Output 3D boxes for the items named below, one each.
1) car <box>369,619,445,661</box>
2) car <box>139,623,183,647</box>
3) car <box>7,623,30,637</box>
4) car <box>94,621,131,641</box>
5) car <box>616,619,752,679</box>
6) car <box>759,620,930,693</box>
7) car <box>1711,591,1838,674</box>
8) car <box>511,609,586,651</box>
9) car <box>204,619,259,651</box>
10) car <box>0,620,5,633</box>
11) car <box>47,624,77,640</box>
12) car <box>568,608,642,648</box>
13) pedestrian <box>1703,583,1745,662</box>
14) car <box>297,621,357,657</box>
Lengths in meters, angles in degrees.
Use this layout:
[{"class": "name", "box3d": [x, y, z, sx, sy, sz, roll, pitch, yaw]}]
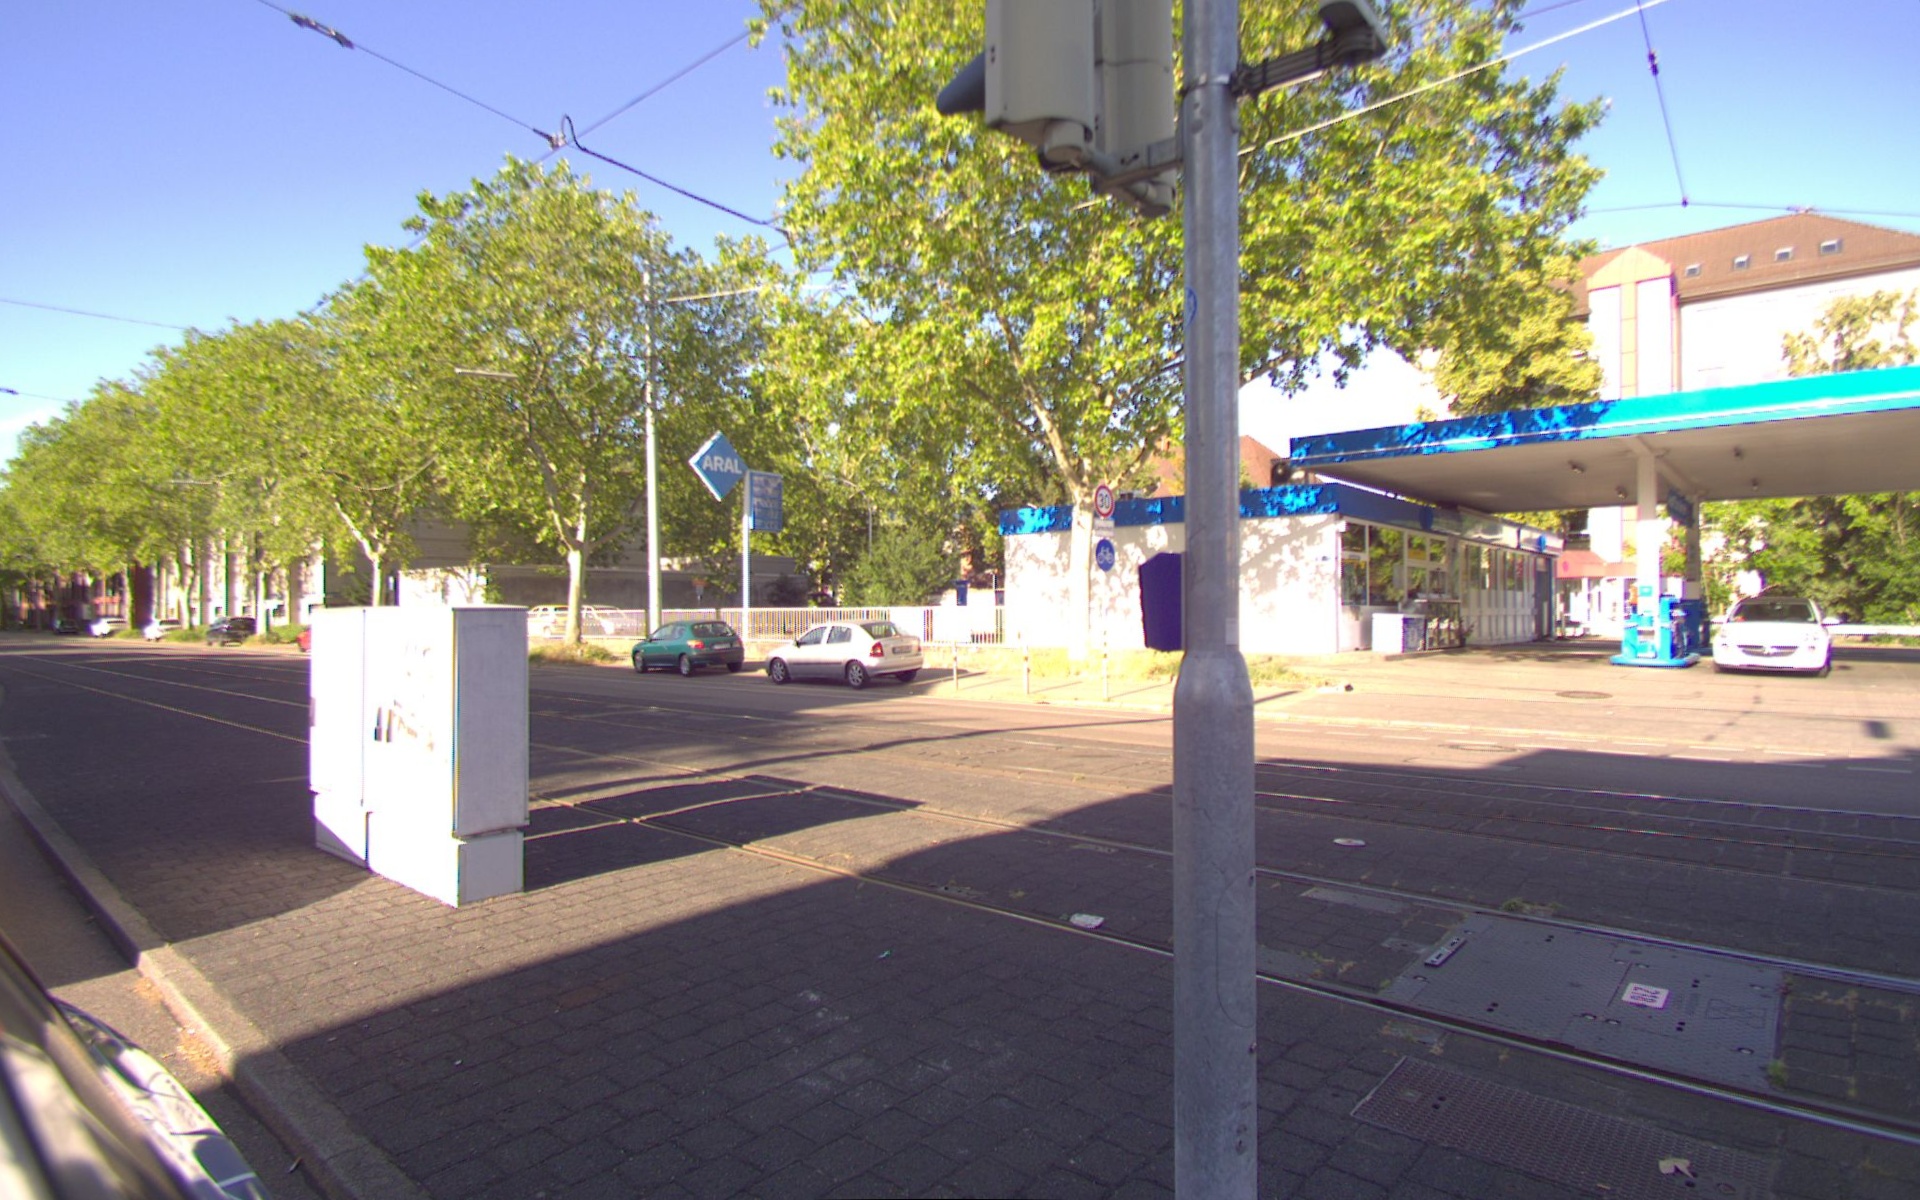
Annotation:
[{"class": "car", "box3d": [-21.874, 1.556, 40.002, 3.303, 1.519, 1.579, -1, 1, 41]}, {"class": "car", "box3d": [-53.856, 2.341, 68.180, 3.748, 1.459, 1.674, -1, 1, 41]}, {"class": "car", "box3d": [-112.130, 3.562, 120.511, 3.748, 1.459, 1.674, -1, 1, 41]}, {"class": "car", "box3d": [-66.673, 2.445, 79.609, 3.748, 1.459, 1.674, -1, 1, 41]}, {"class": "car", "box3d": [-7.399, 1.264, 26.970, 3.748, 1.413, 1.674, -1, 1, 41]}, {"class": "car", "box3d": [-2.635, 1.203, 22.641, 3.812, 1.413, 1.674, -1, 1, 41]}, {"class": "car", "box3d": [15.887, 0.607, 19.693, 1.757, 1.453, 3.521, -1, -1, 41]}, {"class": "car", "box3d": [-17.082, 1.228, 41.970, 3.303, 1.628, 1.579, -1, 0, 41]}, {"class": "car", "box3d": [-40.672, 1.938, 56.454, 3.748, 1.670, 1.674, -1, 1, 41]}, {"class": "car", "box3d": [-133.920, 3.676, 140.479, 3.748, 1.798, 1.674, -1, 1, 41]}, {"class": "car", "box3d": [-85.232, 3.028, 96.048, 3.748, 1.459, 1.674, -1, 1, 41]}, {"class": "car", "box3d": [-15.262, 1.193, 43.446, 3.303, 1.604, 1.579, -1, 0, 41]}, {"class": "pedestrian", "box3d": [16.845, 0.491, 22.307, 0.493, 1.714, 0.649, 1, -2, -45]}, {"class": "car", "box3d": [-28.683, 1.754, 45.830, 2.621, 1.519, 1.579, -1, 1, 41]}]
